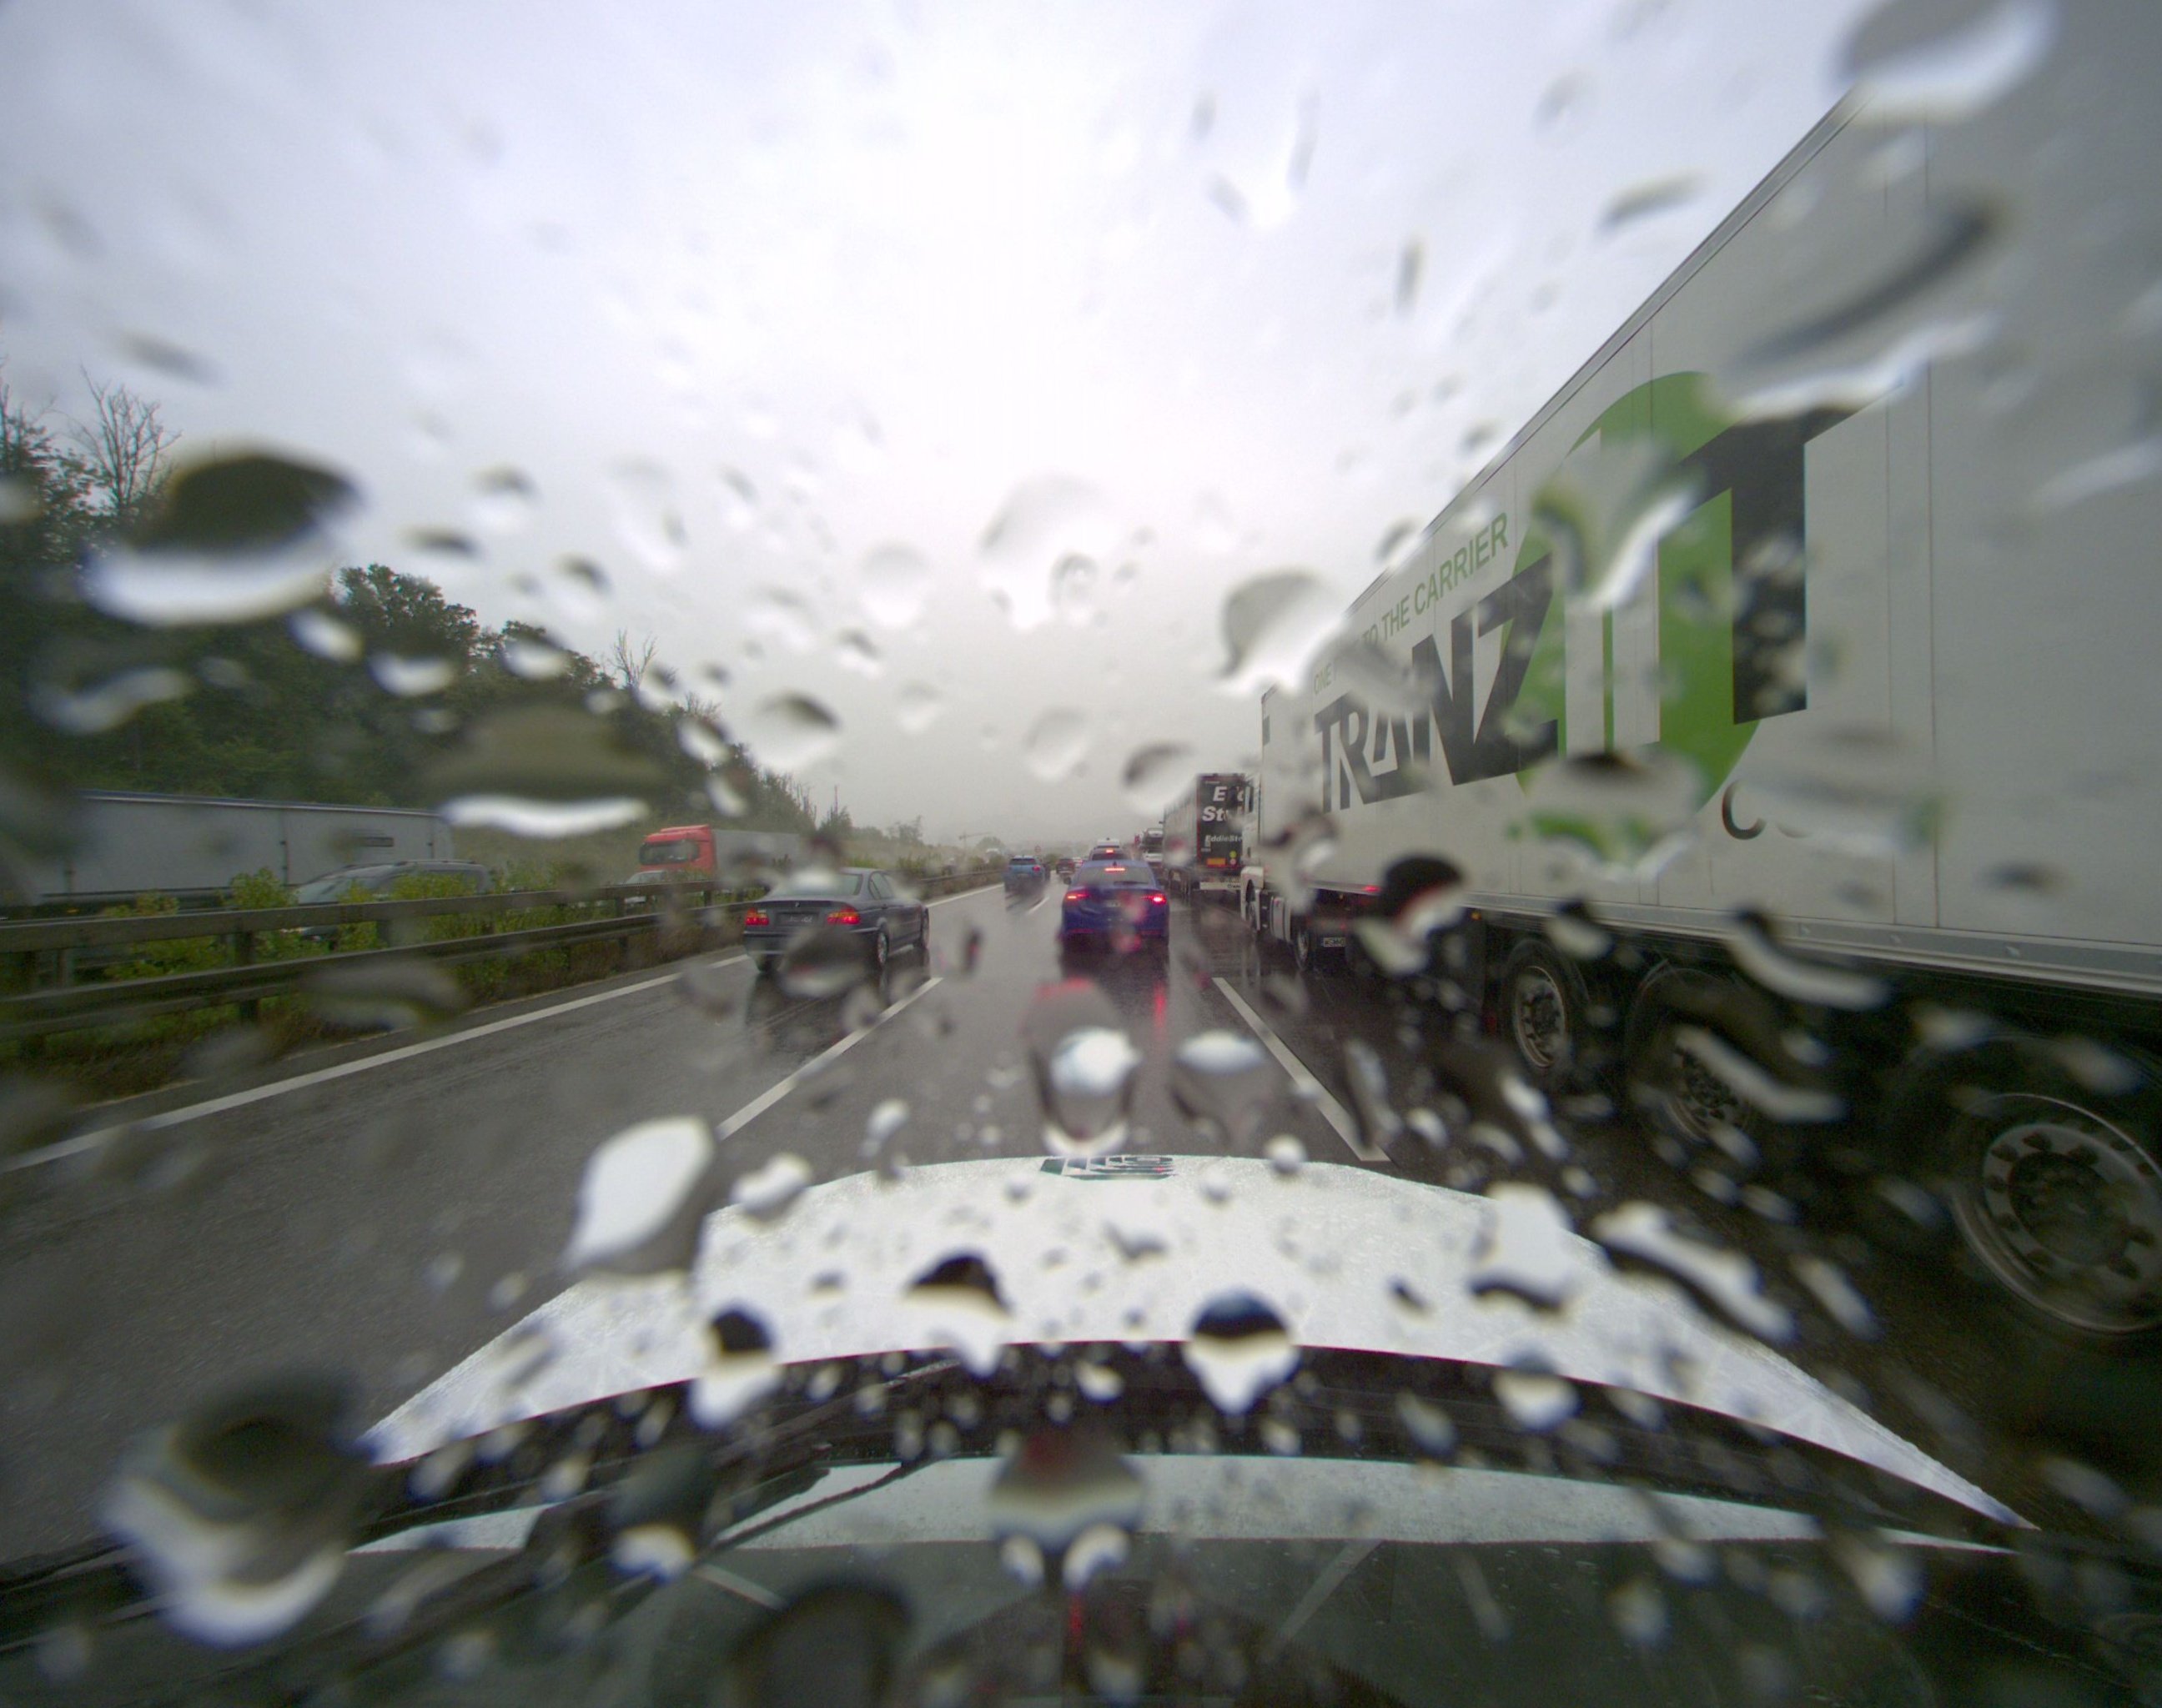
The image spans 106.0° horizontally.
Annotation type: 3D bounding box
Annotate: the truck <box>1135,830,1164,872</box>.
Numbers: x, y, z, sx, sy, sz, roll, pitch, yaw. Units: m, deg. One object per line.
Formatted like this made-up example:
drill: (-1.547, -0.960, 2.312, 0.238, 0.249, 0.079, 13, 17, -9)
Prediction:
truck: (5.919, -0.266, 71.283, 1.986, 3.421, 8.033, -1, 1, 1)

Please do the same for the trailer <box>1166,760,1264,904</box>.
trailer: (4.511, -0.664, 29.575, 2.039, 4.176, 11.454, -1, 0, 2)

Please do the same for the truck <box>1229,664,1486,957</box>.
truck: (4.086, -0.578, 13.151, 2.620, 3.827, 4.793, -1, 0, 2)

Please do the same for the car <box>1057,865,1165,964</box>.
car: (0.563, 0.961, 14.487, 1.629, 1.445, 4.003, -1, 0, 3)

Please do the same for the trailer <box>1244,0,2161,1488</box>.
trailer: (3.839, -0.653, 6.485, 2.620, 4.013, 14.637, -1, 0, 2)

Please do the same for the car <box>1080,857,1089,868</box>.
car: (0.564, 1.379, 135.833, 1.443, 1.784, 3.411, 0, 0, 2)

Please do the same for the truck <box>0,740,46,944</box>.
truck: (-20.490, -0.217, 12.717, 2.676, 3.611, 4.606, 0, 0, 1)

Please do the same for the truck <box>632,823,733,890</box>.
truck: (-19.759, 0.120, 40.659, 2.676, 3.151, 4.606, 0, 0, 1)

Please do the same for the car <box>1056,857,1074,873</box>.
car: (-1.474, 1.063, 76.872, 1.434, 1.420, 3.323, -1, 0, 2)

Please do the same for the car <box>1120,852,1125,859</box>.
car: (10.943, 0.425, 215.459, 1.443, 1.784, 3.411, 0, 0, 2)

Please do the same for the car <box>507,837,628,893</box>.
car: (-19.642, 0.380, 31.371, 1.986, 2.013, 4.002, -1, 1, 2)

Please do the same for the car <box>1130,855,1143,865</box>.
car: (7.334, 0.805, 108.210, 1.632, 1.328, 3.368, -1, 1, 2)

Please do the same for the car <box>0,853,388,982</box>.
car: (-12.992, 0.782, 12.007, 1.987, 1.514, 4.081, -1, 1, 0)

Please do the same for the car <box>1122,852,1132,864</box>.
car: (6.998, 0.546, 124.467, 1.443, 1.784, 3.411, 0, 0, 2)

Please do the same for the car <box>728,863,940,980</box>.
car: (-3.487, 0.876, 12.377, 1.711, 1.400, 4.233, -1, 0, 3)

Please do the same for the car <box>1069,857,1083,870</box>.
car: (-0.582, 1.081, 94.181, 1.434, 1.533, 3.323, -1, 0, 2)

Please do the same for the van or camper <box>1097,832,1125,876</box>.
van or camper: (2.052, -0.004, 55.530, 1.790, 2.806, 4.770, -1, 0, 2)

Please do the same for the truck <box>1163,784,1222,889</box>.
truck: (4.717, -0.714, 34.942, 2.039, 4.193, 4.002, -1, 0, 2)

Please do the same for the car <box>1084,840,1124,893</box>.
car: (0.851, 0.404, 29.222, 1.331, 1.780, 3.323, -1, 0, 2)

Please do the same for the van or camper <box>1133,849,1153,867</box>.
van or camper: (6.193, 0.382, 81.177, 1.765, 1.625, 4.486, -1, 1, 2)

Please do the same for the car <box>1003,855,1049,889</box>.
car: (-2.606, 0.842, 39.407, 1.714, 1.523, 4.003, -1, 0, 3)

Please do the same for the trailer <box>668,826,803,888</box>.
trailer: (-19.515, 0.163, 47.093, 2.675, 3.151, 11.090, 0, 0, 2)

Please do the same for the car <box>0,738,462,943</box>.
car: (-20.294, -0.213, 19.265, 2.676, 3.611, 10.976, 0, 0, 1)
